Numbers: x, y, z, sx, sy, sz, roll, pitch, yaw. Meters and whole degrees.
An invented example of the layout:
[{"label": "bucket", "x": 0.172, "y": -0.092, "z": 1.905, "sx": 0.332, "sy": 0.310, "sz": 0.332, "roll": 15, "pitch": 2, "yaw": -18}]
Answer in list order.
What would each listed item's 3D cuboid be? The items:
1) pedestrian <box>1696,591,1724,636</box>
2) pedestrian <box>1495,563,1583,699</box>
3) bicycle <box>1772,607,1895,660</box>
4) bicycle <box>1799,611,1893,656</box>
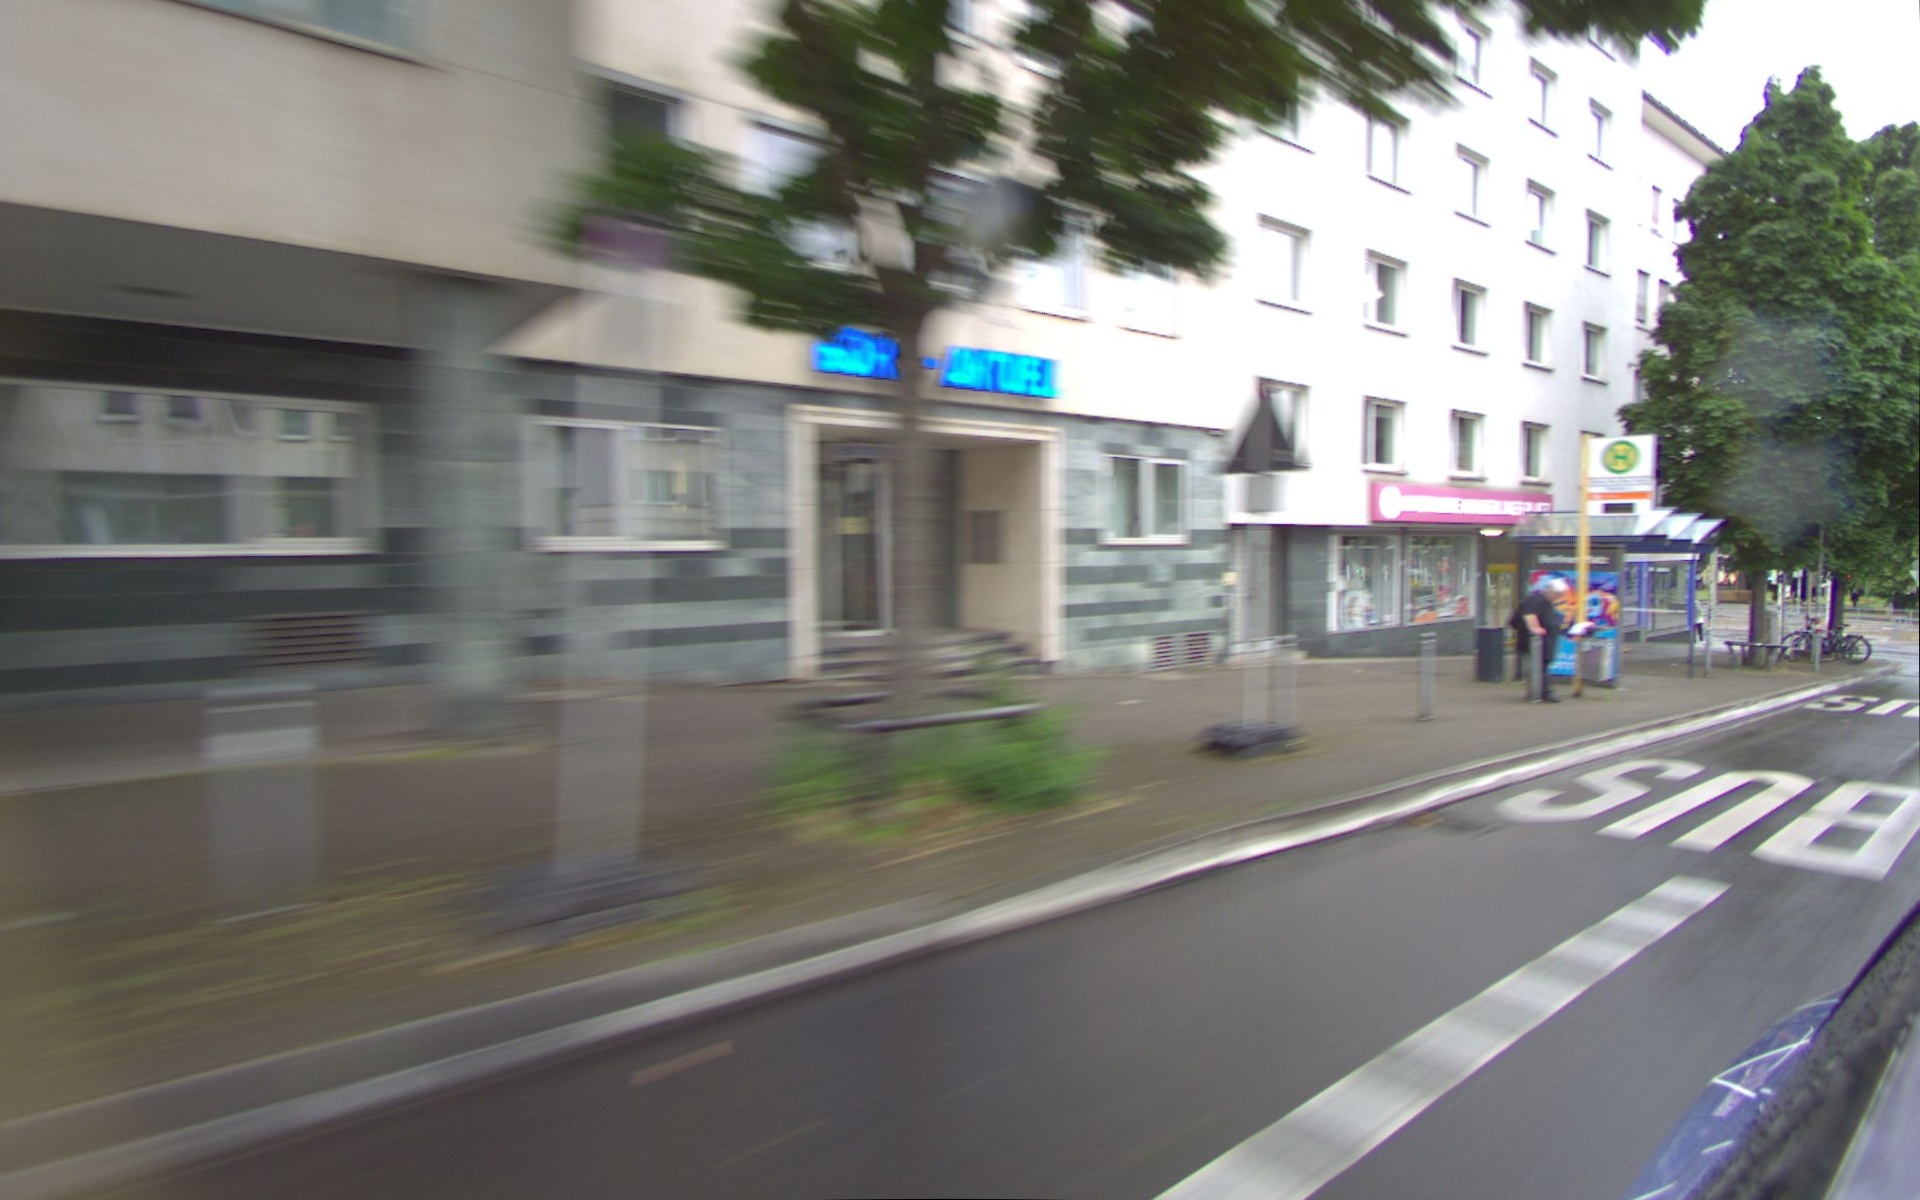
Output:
[{"label": "pedestrian", "x": 29.306, "y": 0.531, "z": 39.565, "sx": 0.519, "sy": 1.733, "sz": 0.706, "roll": 1, "pitch": 2, "yaw": 1}, {"label": "pedestrian", "x": 7.350, "y": 0.367, "z": 12.841, "sx": 0.951, "sy": 1.646, "sz": 0.666, "roll": 0, "pitch": 1, "yaw": -42}, {"label": "bicycle", "x": 22.812, "y": 0.849, "z": 26.479, "sx": 0.637, "sy": 1.188, "sz": 2.323, "roll": -1, "pitch": 3, "yaw": -37}, {"label": "bicycle", "x": 24.369, "y": 0.905, "z": 27.869, "sx": 0.637, "sy": 1.105, "sz": 1.822, "roll": 2, "pitch": 1, "yaw": -37}]
